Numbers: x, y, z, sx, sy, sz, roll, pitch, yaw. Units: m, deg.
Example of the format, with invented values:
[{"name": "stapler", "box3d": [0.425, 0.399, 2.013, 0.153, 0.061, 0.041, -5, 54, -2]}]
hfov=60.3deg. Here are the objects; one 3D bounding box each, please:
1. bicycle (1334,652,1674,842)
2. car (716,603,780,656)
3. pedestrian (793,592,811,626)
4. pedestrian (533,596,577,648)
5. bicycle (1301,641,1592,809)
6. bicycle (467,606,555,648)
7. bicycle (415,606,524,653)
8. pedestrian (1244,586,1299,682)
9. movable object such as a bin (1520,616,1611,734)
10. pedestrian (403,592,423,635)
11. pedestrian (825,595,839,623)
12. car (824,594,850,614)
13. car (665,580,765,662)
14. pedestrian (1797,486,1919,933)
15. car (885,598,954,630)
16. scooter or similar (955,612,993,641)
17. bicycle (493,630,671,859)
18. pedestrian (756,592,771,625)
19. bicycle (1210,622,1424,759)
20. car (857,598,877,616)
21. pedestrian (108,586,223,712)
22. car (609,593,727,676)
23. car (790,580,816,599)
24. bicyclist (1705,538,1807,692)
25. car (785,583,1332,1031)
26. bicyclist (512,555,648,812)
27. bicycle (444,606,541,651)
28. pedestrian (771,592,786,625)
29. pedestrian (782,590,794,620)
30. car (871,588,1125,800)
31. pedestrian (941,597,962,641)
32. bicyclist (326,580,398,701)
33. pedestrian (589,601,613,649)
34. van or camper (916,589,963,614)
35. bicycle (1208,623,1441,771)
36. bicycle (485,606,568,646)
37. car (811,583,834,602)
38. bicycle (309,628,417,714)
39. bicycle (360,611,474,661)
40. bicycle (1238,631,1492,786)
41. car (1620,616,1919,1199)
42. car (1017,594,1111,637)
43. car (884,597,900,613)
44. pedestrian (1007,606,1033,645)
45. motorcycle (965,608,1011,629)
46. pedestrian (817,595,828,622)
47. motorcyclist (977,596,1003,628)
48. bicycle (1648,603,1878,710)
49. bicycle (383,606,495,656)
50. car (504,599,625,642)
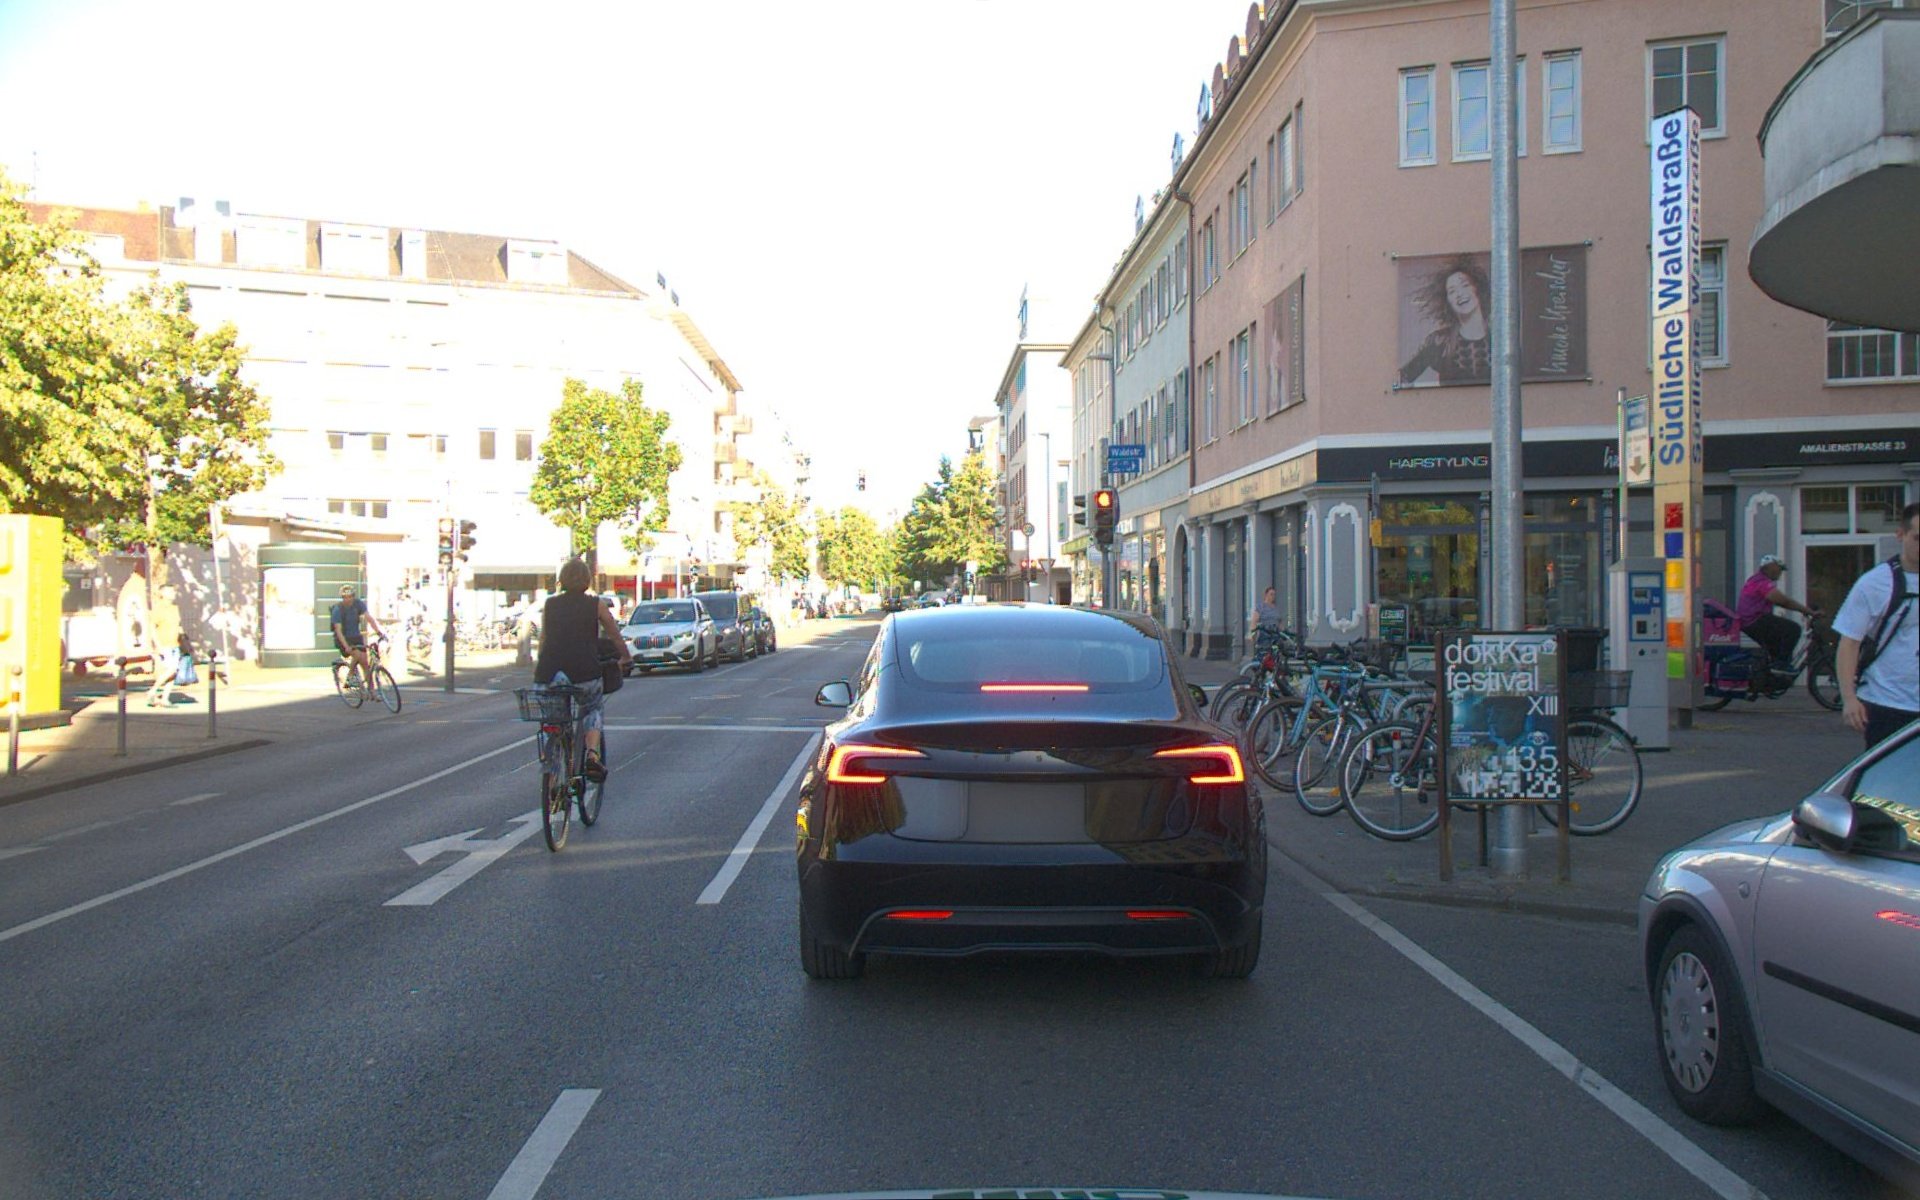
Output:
[{"name": "bicycle", "box3d": [3.280, 0.878, 10.079, 1.844, 1.062, 0.653, -1, 0, 0]}, {"name": "car", "box3d": [-6.336, 0.855, 49.679, 1.431, 1.455, 3.605, -3, 0, -1]}, {"name": "pedestrian", "box3d": [-9.046, 0.514, 94.601, 0.719, 1.900, 0.790, 1, -1, 28]}, {"name": "pedestrian", "box3d": [-13.001, 0.698, 53.148, 1.070, 1.639, 1.266, 1, 0, -1]}, {"name": "bicycle", "box3d": [3.251, 0.825, 11.151, 1.776, 1.078, 0.653, 0, 0, 0]}, {"name": "bicycle", "box3d": [-14.062, 0.851, 51.905, 2.491, 1.273, 0.942, 1, 0, -4]}, {"name": "bicycle", "box3d": [-14.001, 0.831, 47.312, 2.818, 1.292, 0.942, 1, 0, -4]}, {"name": "pedestrian", "box3d": [5.235, 0.564, 27.853, 0.773, 1.576, 0.724, 1, -1, 0]}, {"name": "movable object such as a bin", "box3d": [6.044, 0.735, 16.530, 0.623, 1.122, 0.728, -2, 0, 3]}, {"name": "pedestrian", "box3d": [-20.251, 0.497, 61.244, 0.614, 1.550, 0.577, 1, -1, -14]}, {"name": "pedestrian", "box3d": [-8.889, 0.600, 114.578, 0.761, 1.900, 1.005, 1, -1, -15]}, {"name": "car", "box3d": [-12.352, 0.393, 166.250, 2.365, 2.004, 4.677, 0, 0, -1]}, {"name": "car", "box3d": [-6.231, 0.508, 42.553, 1.906, 1.981, 4.819, 0, 0, -1]}, {"name": "pedestrian", "box3d": [4.362, 0.463, 7.354, 0.792, 1.855, 0.983, 1, 0, 2]}, {"name": "car", "box3d": [-2.392, 0.816, 97.600, 2.025, 1.819, 3.944, 0, 0, -42]}, {"name": "scooter or similar", "box3d": [0.556, 1.089, 67.206, 1.317, 1.154, 0.803, 1, -1, -25]}, {"name": "bicycle", "box3d": [-2.314, 0.835, 10.355, 0.615, 1.244, 2.001, 1, 0, 0]}, {"name": "pedestrian", "box3d": [-11.493, 0.480, 96.677, 0.721, 1.900, 0.787, 1, -1, -17]}, {"name": "bicycle", "box3d": [3.163, 0.794, 14.765, 1.776, 1.172, 0.653, 0, 0, 0]}, {"name": "car", "box3d": [-10.510, 0.826, 186.954, 2.089, 2.004, 4.133, 0, 0, -1]}, {"name": "pedestrian", "box3d": [-11.370, 0.693, 23.705, 1.087, 1.750, 1.062, 1, 0, 1]}, {"name": "car", "box3d": [-6.323, 0.712, 36.225, 1.788, 1.592, 4.299, -3, 0, -1]}, {"name": "car", "box3d": [-17.026, -1.133, 179.393, 2.228, 2.049, 4.717, 1, 0, 0]}, {"name": "bicyclist", "box3d": [9.571, 0.184, 19.914, 0.846, 1.786, 0.681, -3, -2, 7]}, {"name": "car", "box3d": [0.301, 0.703, 7.760, 1.812, 1.472, 4.450, 1, 0, -1]}, {"name": "bicyclist", "box3d": [-2.336, 0.493, 10.259, 0.594, 1.510, 0.958, 1, 0, 0]}, {"name": "bicycle", "box3d": [-14.010, 0.846, 49.630, 2.609, 1.281, 0.942, 1, 0, -4]}, {"name": "pedestrian", "box3d": [-10.627, 0.496, 97.024, 0.721, 1.900, 0.787, 1, -1, -17]}, {"name": "pedestrian", "box3d": [-10.770, 0.312, 103.702, 0.681, 1.900, 0.658, 1, -1, -6]}, {"name": "car", "box3d": [0.244, 0.688, 14.184, 1.812, 1.507, 4.450, 1, 0, -1]}, {"name": "pedestrian", "box3d": [-0.341, 0.764, 66.750, 0.649, 1.790, 0.649, 1, -1, -24]}, {"name": "bicyclist", "box3d": [-8.827, 0.584, 24.414, 0.795, 1.739, 0.700, 1, 0, 40]}, {"name": "pedestrian", "box3d": [-13.463, 0.922, 62.061, 0.830, 1.790, 0.704, 1, -1, -15]}, {"name": "van or camper", "box3d": [-2.076, 0.169, 167.508, 4.752, 2.481, 1.850, 0, 0, -1]}, {"name": "bicycle", "box3d": [2.980, 0.786, 13.628, 1.776, 1.172, 0.653, 0, 0, 0]}, {"name": "bicycle", "box3d": [-14.228, 0.858, 54.326, 2.491, 1.273, 0.942, 1, 0, -4]}, {"name": "car", "box3d": [-15.610, -0.820, 188.049, 2.228, 2.049, 4.717, 1, 0, 0]}, {"name": "bicycle", "box3d": [-8.841, 1.032, 24.469, 1.921, 1.183, 0.615, 1, -1, 40]}, {"name": "bicycle", "box3d": [-13.950, 0.926, 42.573, 2.607, 1.216, 0.942, 1, 0, -4]}, {"name": "bicycle", "box3d": [3.051, 0.808, 12.555, 1.776, 1.121, 0.653, 0, 0, 0]}, {"name": "car", "box3d": [2.923, 0.784, 3.526, 1.551, 1.451, 3.579, 1, 0, -1]}, {"name": "car", "box3d": [4.711, 0.704, 74.729, 3.937, 1.900, 1.686, 0, 0, -22]}, {"name": "car", "box3d": [-7.852, 0.595, 191.774, 1.854, 1.845, 3.923, 1, 0, -2]}, {"name": "pedestrian", "box3d": [2.530, 1.067, 69.765, 0.800, 1.637, 0.700, 1, -1, -38]}, {"name": "motorcycle", "box3d": [1.473, 0.986, 86.652, 2.358, 1.054, 0.774, 1, -1, -35]}, {"name": "pedestrian", "box3d": [-9.799, 0.597, 117.878, 0.683, 1.900, 0.907, 1, -1, -12]}, {"name": "motorcyclist", "box3d": [1.559, 0.610, 86.700, 1.100, 1.662, 0.767, 1, -1, -34]}, {"name": "bicycle", "box3d": [9.631, 0.670, 19.907, 2.339, 1.171, 0.713, -3, -1, 6]}, {"name": "bicycle", "box3d": [-14.124, 0.844, 44.910, 2.725, 1.296, 0.932, 1, 0, -4]}, {"name": "car", "box3d": [-18.024, 0.916, 75.397, 5.124, 1.899, 1.871, 0, 0, -23]}]
